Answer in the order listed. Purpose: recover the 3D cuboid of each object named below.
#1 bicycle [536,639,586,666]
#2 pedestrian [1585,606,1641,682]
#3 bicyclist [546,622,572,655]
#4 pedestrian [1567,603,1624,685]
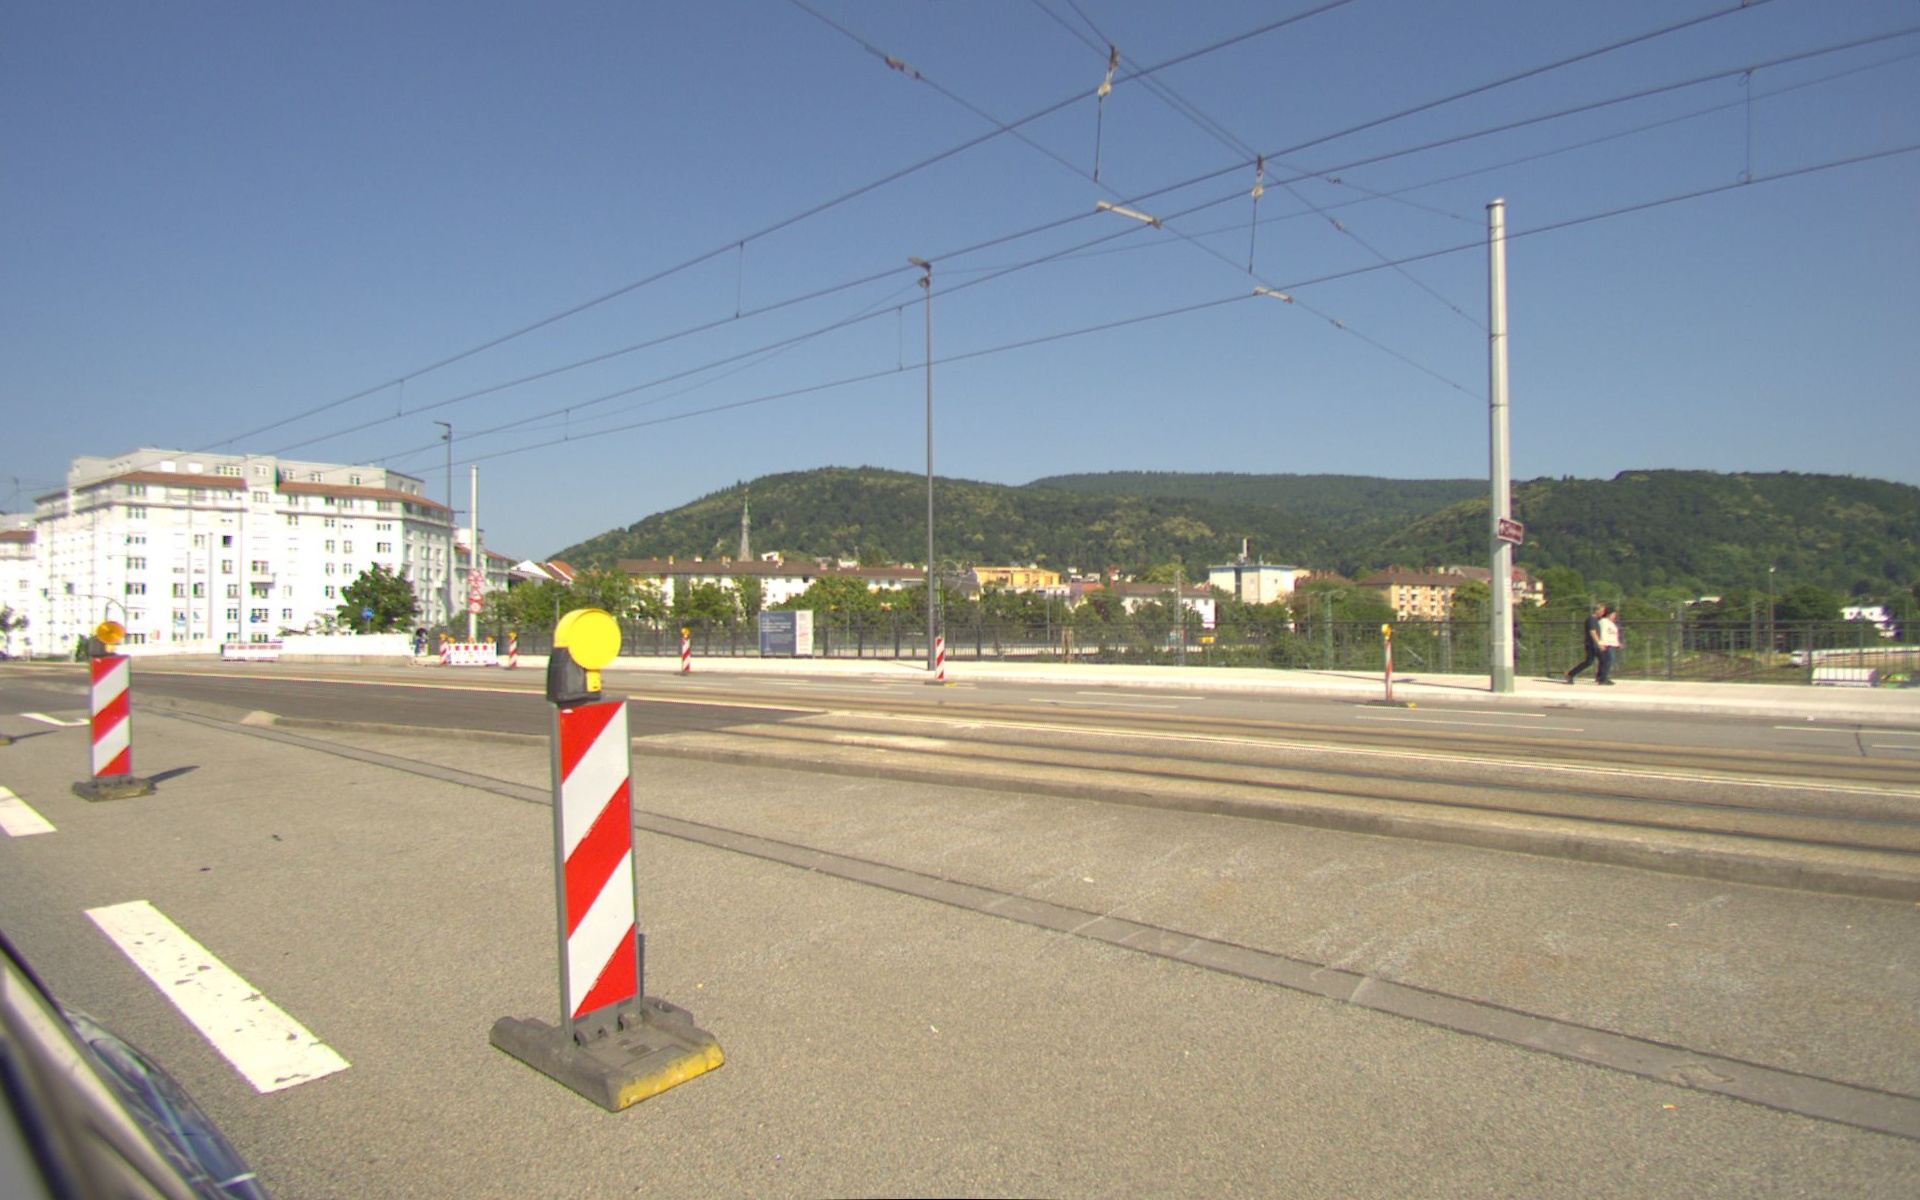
[{"bbox_3d":[-19.130,2.503,48.495,3.069,1.204,0.847,-2,-1,40],"label":"bicycle"},{"bbox_3d":[14.074,0.939,21.812,0.888,1.556,0.712,-2,0,40],"label":"pedestrian"},{"bbox_3d":[-19.256,1.848,48.583,0.816,1.530,0.847,-2,-1,39],"label":"bicyclist"},{"bbox_3d":[13.397,0.915,21.332,0.894,1.654,0.736,-2,0,40],"label":"pedestrian"}]
